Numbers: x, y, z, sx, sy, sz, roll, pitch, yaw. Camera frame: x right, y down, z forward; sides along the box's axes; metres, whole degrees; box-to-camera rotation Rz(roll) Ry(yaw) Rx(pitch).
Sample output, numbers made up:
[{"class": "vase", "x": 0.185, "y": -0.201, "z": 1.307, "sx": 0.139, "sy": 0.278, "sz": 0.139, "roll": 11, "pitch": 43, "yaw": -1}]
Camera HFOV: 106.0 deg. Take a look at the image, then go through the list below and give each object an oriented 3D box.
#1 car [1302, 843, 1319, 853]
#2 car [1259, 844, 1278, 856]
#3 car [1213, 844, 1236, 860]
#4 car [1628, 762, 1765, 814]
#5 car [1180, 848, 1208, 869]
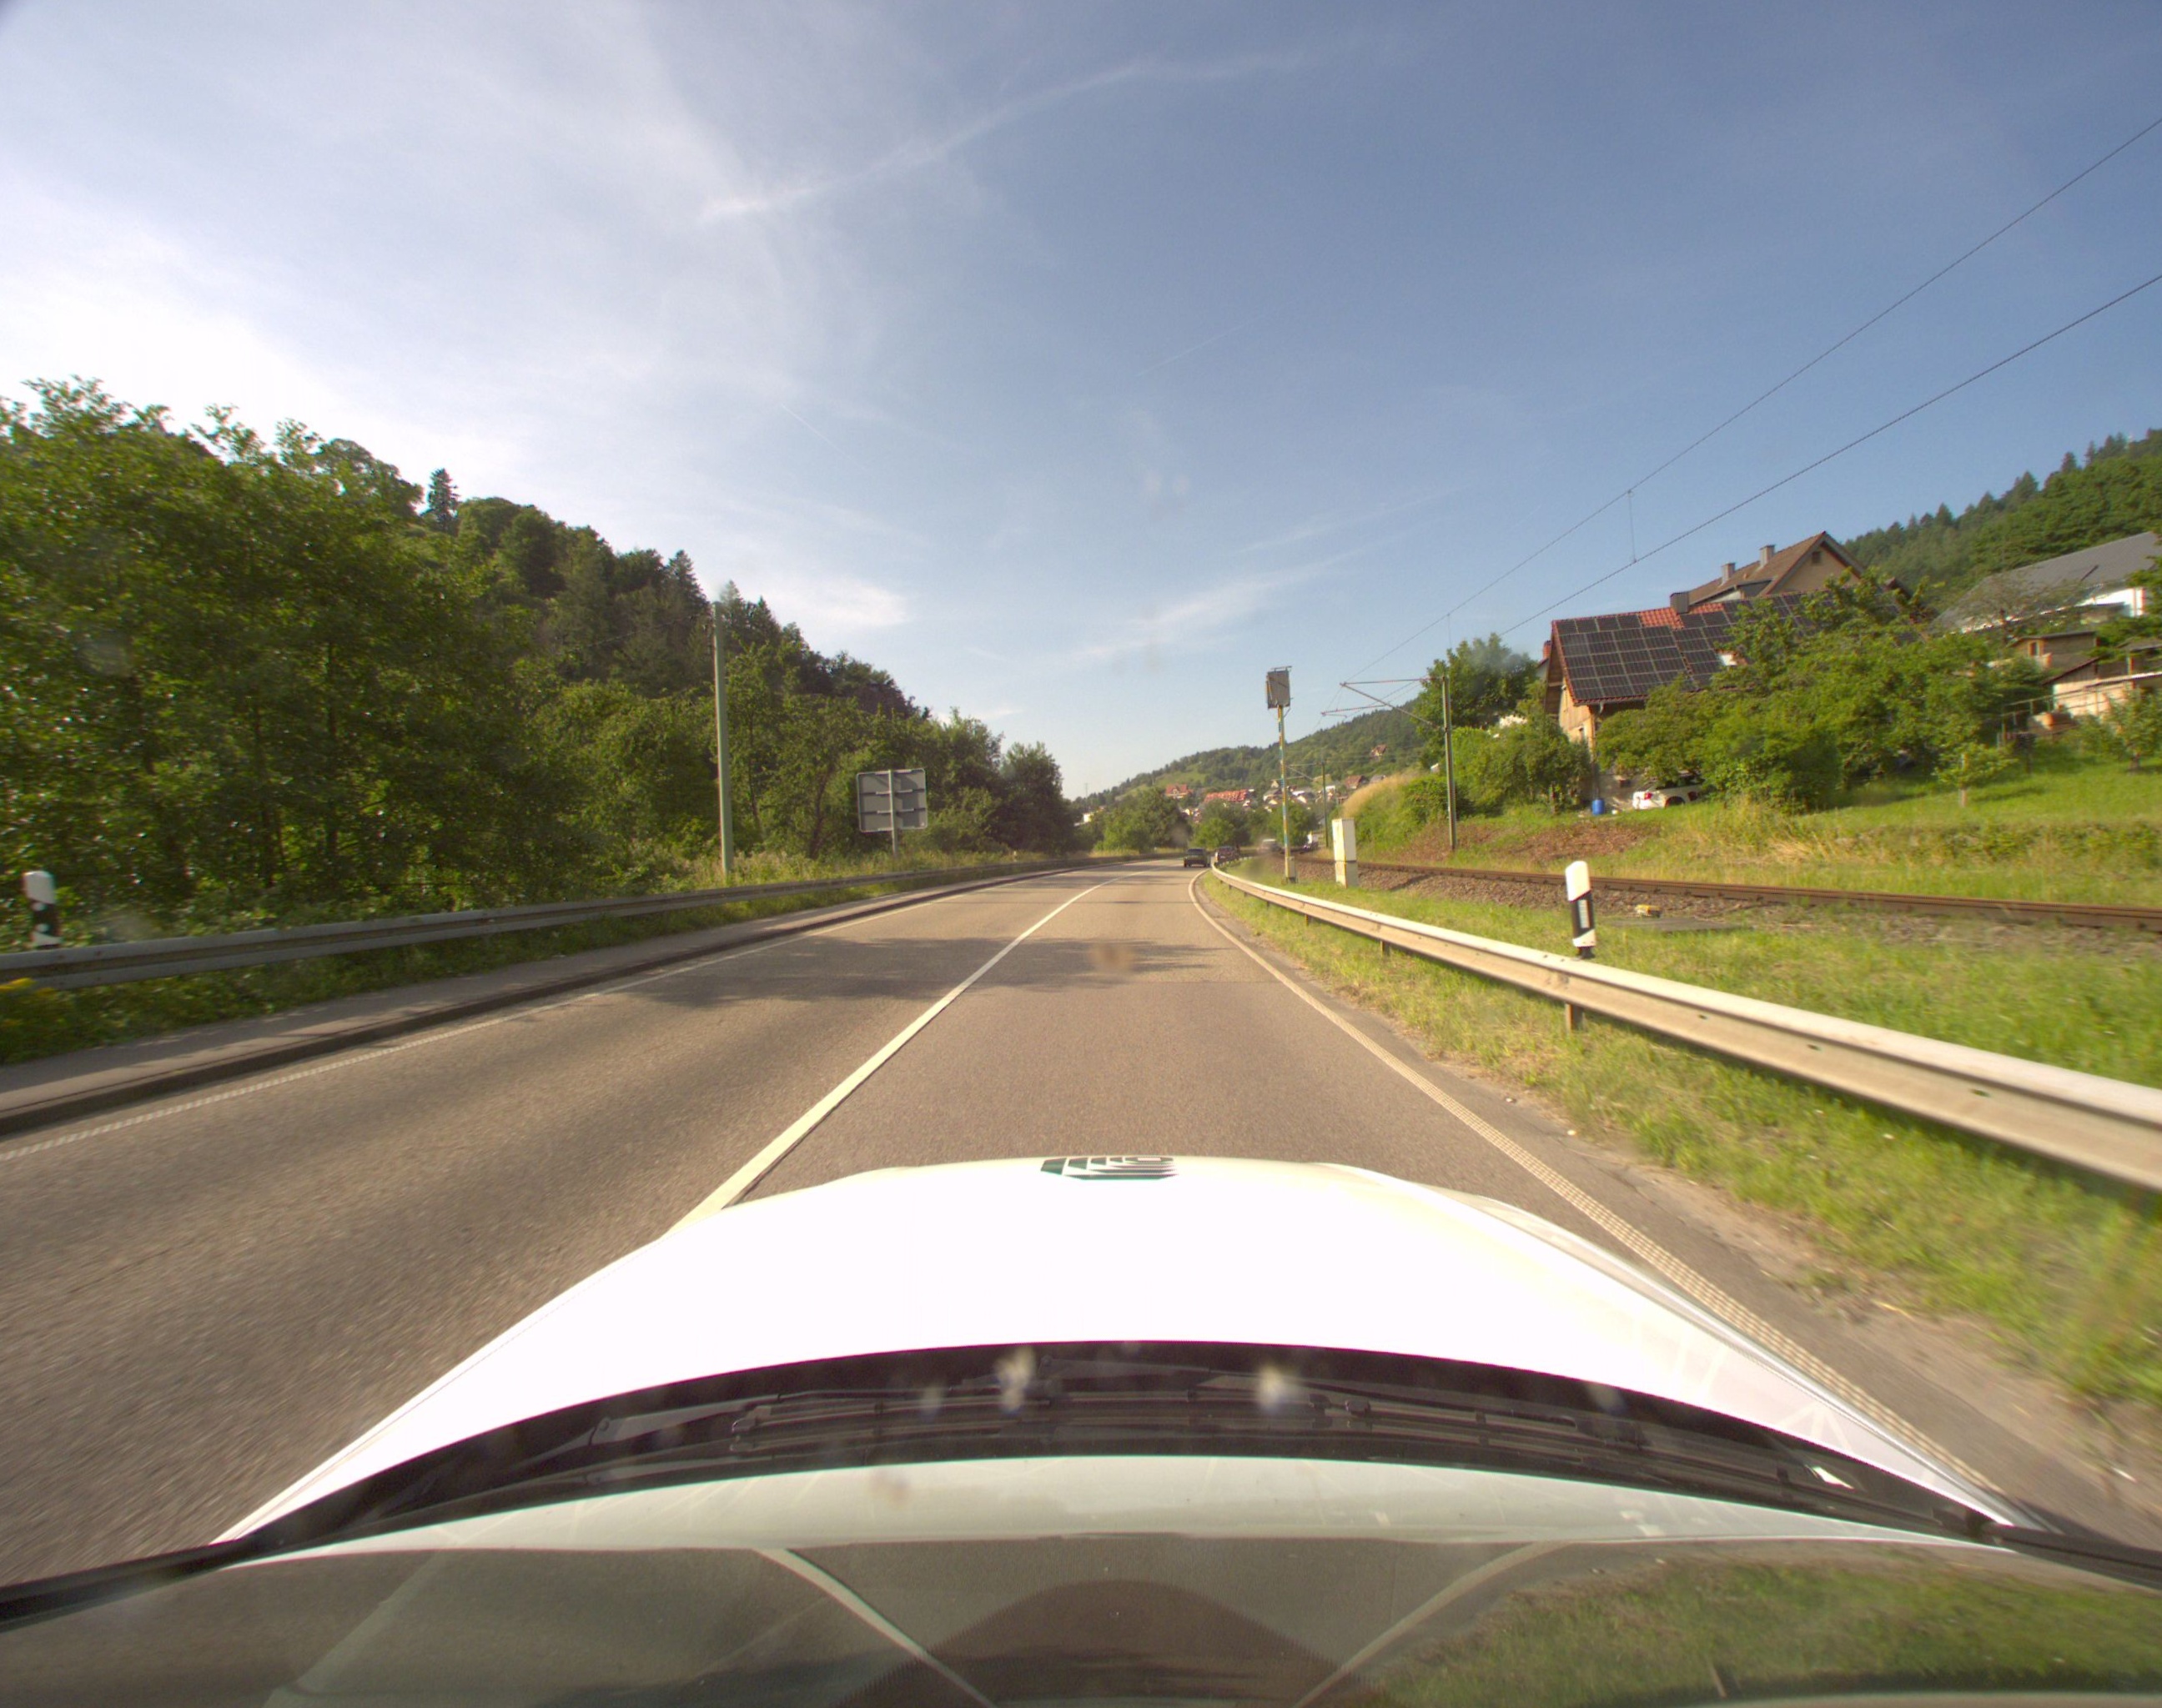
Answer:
[{"class": "car", "x": 36.732, "y": -0.924, "z": 130.323, "sx": 1.791, "sy": 1.408, "sz": 3.797, "roll": -4, "pitch": 0, "yaw": 28}, {"class": "car", "x": 24.786, "y": -0.542, "z": 107.484, "sx": 1.791, "sy": 1.453, "sz": 3.667, "roll": -4, "pitch": 0, "yaw": 22}, {"class": "car", "x": 14.294, "y": -0.229, "z": 81.041, "sx": 1.826, "sy": 1.459, "sz": 3.729, "roll": -4, "pitch": 0, "yaw": 16}, {"class": "car", "x": 25.012, "y": -2.643, "z": 33.266, "sx": 3.957, "sy": 1.684, "sz": 2.009, "roll": -4, "pitch": 0, "yaw": 15}, {"class": "car", "x": 8.682, "y": 0.304, "z": 62.273, "sx": 1.716, "sy": 1.457, "sz": 3.423, "roll": -4, "pitch": 0, "yaw": 14}]
